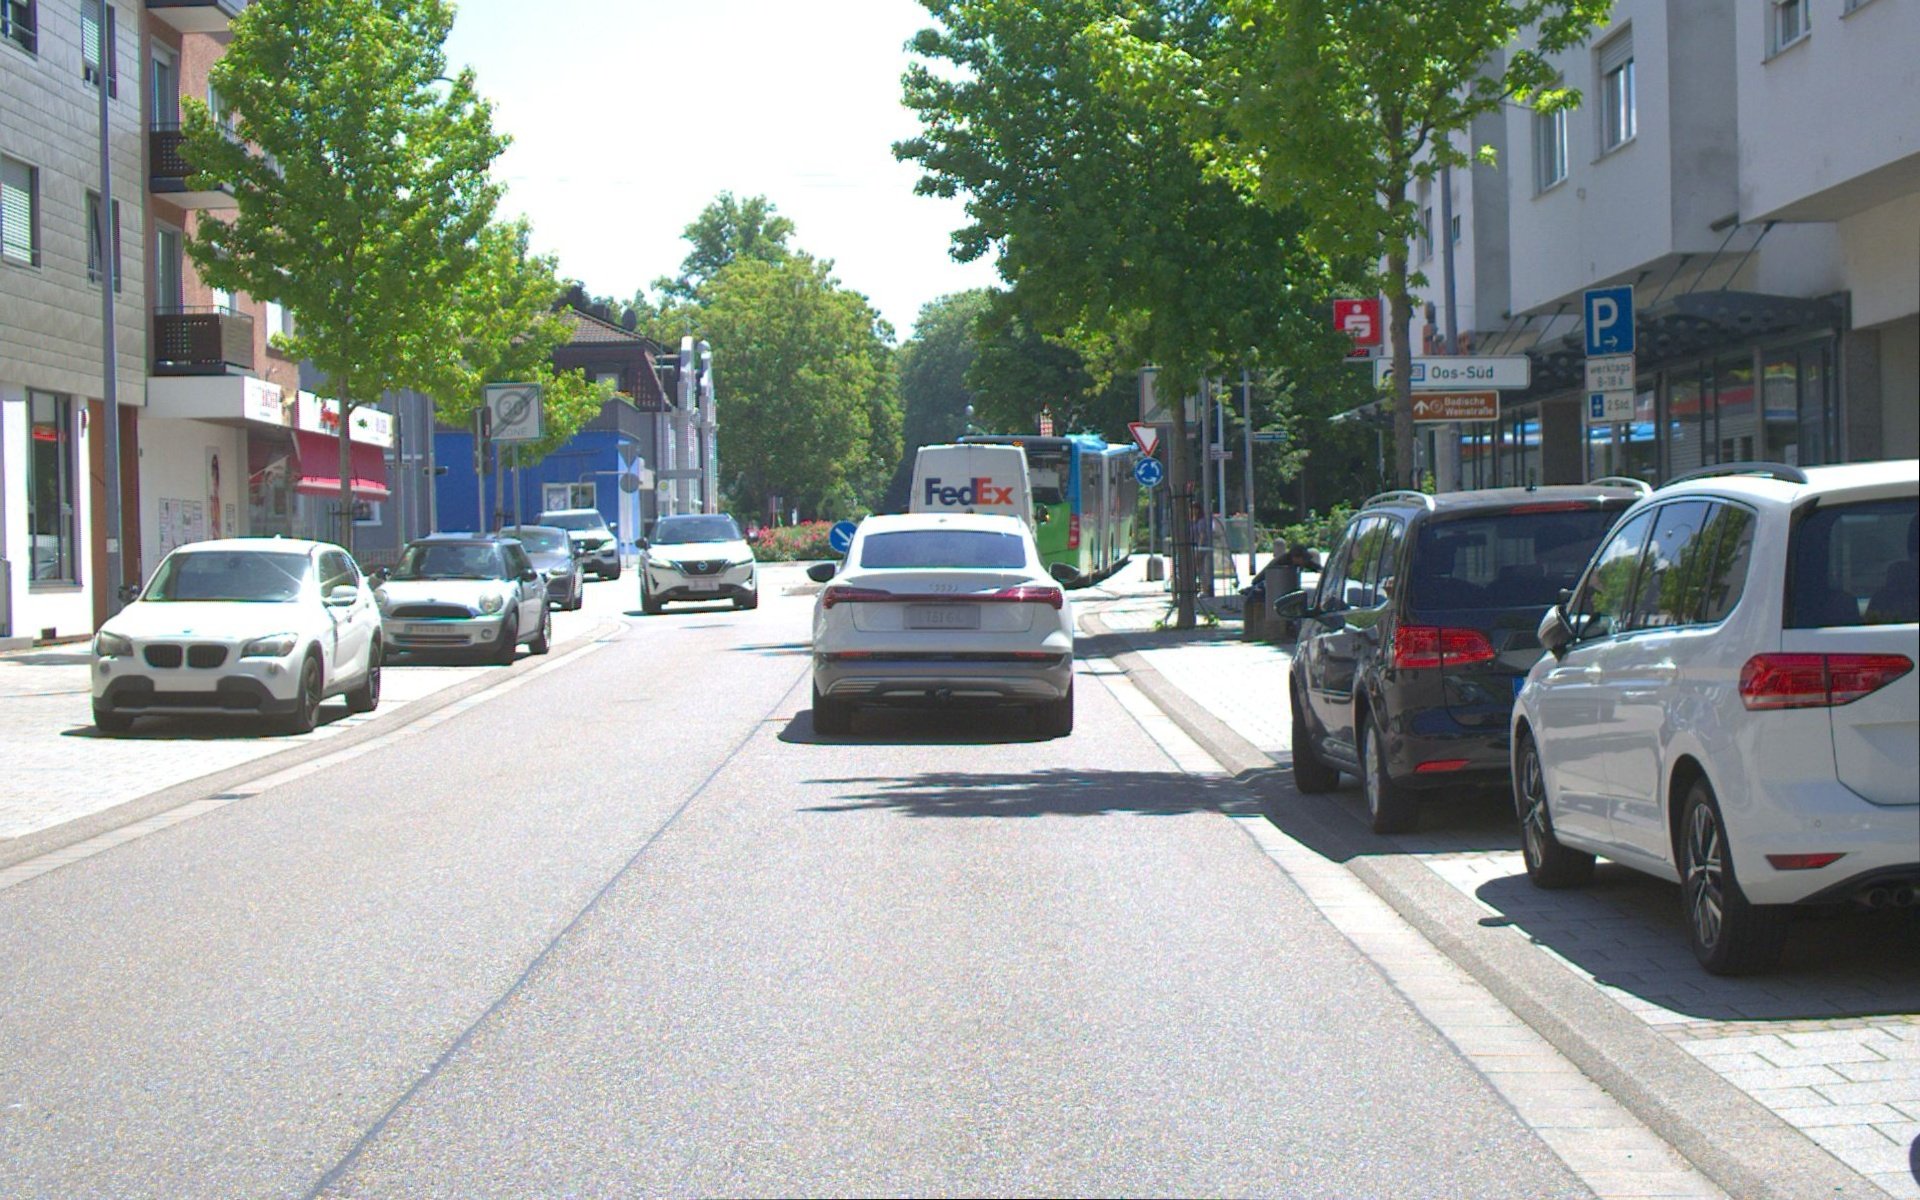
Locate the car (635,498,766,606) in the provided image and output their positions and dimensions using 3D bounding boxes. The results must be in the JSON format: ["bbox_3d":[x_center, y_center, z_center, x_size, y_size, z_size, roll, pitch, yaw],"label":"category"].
[{"bbox_3d":[-4.306,-0.814,57.524,1.856,1.686,4.151,-2,1,0],"label":"car"}]

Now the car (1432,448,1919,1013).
[{"bbox_3d":[3.137,0.312,12.684,1.896,1.669,4.691,-2,1,-2],"label":"car"}]

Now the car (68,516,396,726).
[{"bbox_3d":[-6.079,0.118,29.201,1.752,1.612,4.401,1,1,1],"label":"car"}]

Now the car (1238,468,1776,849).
[{"bbox_3d":[2.694,0.216,18.031,1.855,1.669,4.537,-2,1,-2],"label":"car"}]

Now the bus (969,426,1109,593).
[{"bbox_3d":[1.702,-1.821,70.900,2.661,3.210,7.301,1,1,2],"label":"bus"}]

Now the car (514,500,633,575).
[{"bbox_3d":[-9.470,-1.534,84.052,1.864,1.751,4.001,1,1,-22],"label":"car"}]

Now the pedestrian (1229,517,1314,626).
[{"bbox_3d":[3.602,-0.332,39.773,0.906,1.232,0.648,-1,1,-1],"label":"pedestrian"}]

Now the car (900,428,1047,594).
[{"bbox_3d":[0.211,-1.371,53.999,2.156,2.433,5.283,1,1,0],"label":"car"}]

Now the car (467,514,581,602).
[{"bbox_3d":[-7.740,-0.768,61.240,1.837,1.490,4.001,-1,1,-5],"label":"car"}]

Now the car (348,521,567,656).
[{"bbox_3d":[-5.791,-0.170,40.063,1.752,1.448,4.401,1,1,2],"label":"car"}]

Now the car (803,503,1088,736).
[{"bbox_3d":[-0.147,0.093,26.311,1.993,1.627,4.000,1,1,-1],"label":"car"}]

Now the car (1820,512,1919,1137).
[{"bbox_3d":[3.107,0.535,6.545,1.896,1.433,4.544,-1,1,2],"label":"car"}]

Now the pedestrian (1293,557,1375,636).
[{"bbox_3d":[4.267,-0.044,39.303,0.906,0.876,0.648,-1,1,5],"label":"pedestrian"}]

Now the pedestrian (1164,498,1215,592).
[{"bbox_3d":[3.695,-0.882,55.250,0.717,1.497,0.582,-1,1,12],"label":"pedestrian"}]

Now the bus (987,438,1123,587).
[{"bbox_3d":[2.228,-1.954,78.195,2.661,3.198,7.450,1,1,5],"label":"bus"}]
